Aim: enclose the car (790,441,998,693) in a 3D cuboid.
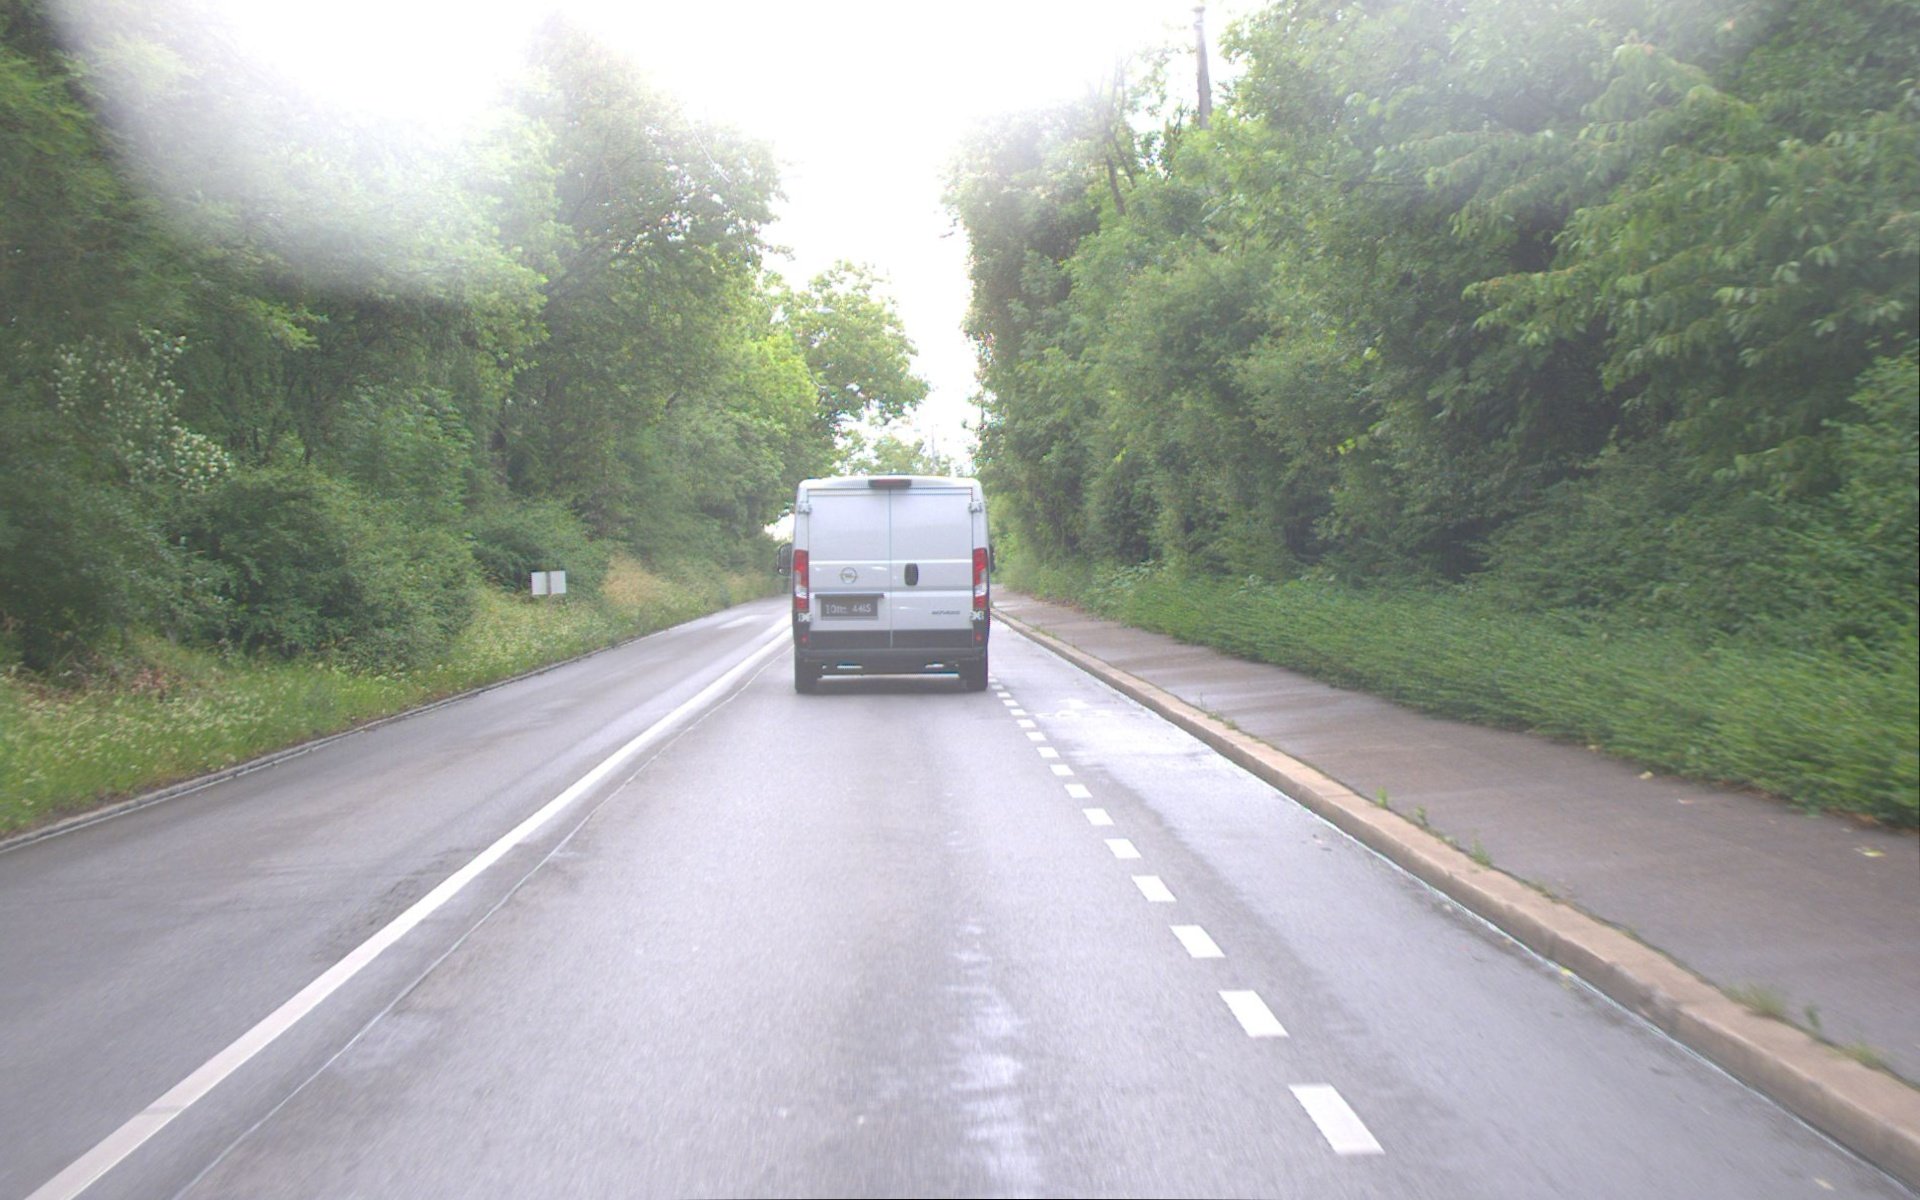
[{"bbox_3d":[-0.697,-0.391,37.249,2.050,2.508,4.944,1,1,-1],"label":"car"}]
